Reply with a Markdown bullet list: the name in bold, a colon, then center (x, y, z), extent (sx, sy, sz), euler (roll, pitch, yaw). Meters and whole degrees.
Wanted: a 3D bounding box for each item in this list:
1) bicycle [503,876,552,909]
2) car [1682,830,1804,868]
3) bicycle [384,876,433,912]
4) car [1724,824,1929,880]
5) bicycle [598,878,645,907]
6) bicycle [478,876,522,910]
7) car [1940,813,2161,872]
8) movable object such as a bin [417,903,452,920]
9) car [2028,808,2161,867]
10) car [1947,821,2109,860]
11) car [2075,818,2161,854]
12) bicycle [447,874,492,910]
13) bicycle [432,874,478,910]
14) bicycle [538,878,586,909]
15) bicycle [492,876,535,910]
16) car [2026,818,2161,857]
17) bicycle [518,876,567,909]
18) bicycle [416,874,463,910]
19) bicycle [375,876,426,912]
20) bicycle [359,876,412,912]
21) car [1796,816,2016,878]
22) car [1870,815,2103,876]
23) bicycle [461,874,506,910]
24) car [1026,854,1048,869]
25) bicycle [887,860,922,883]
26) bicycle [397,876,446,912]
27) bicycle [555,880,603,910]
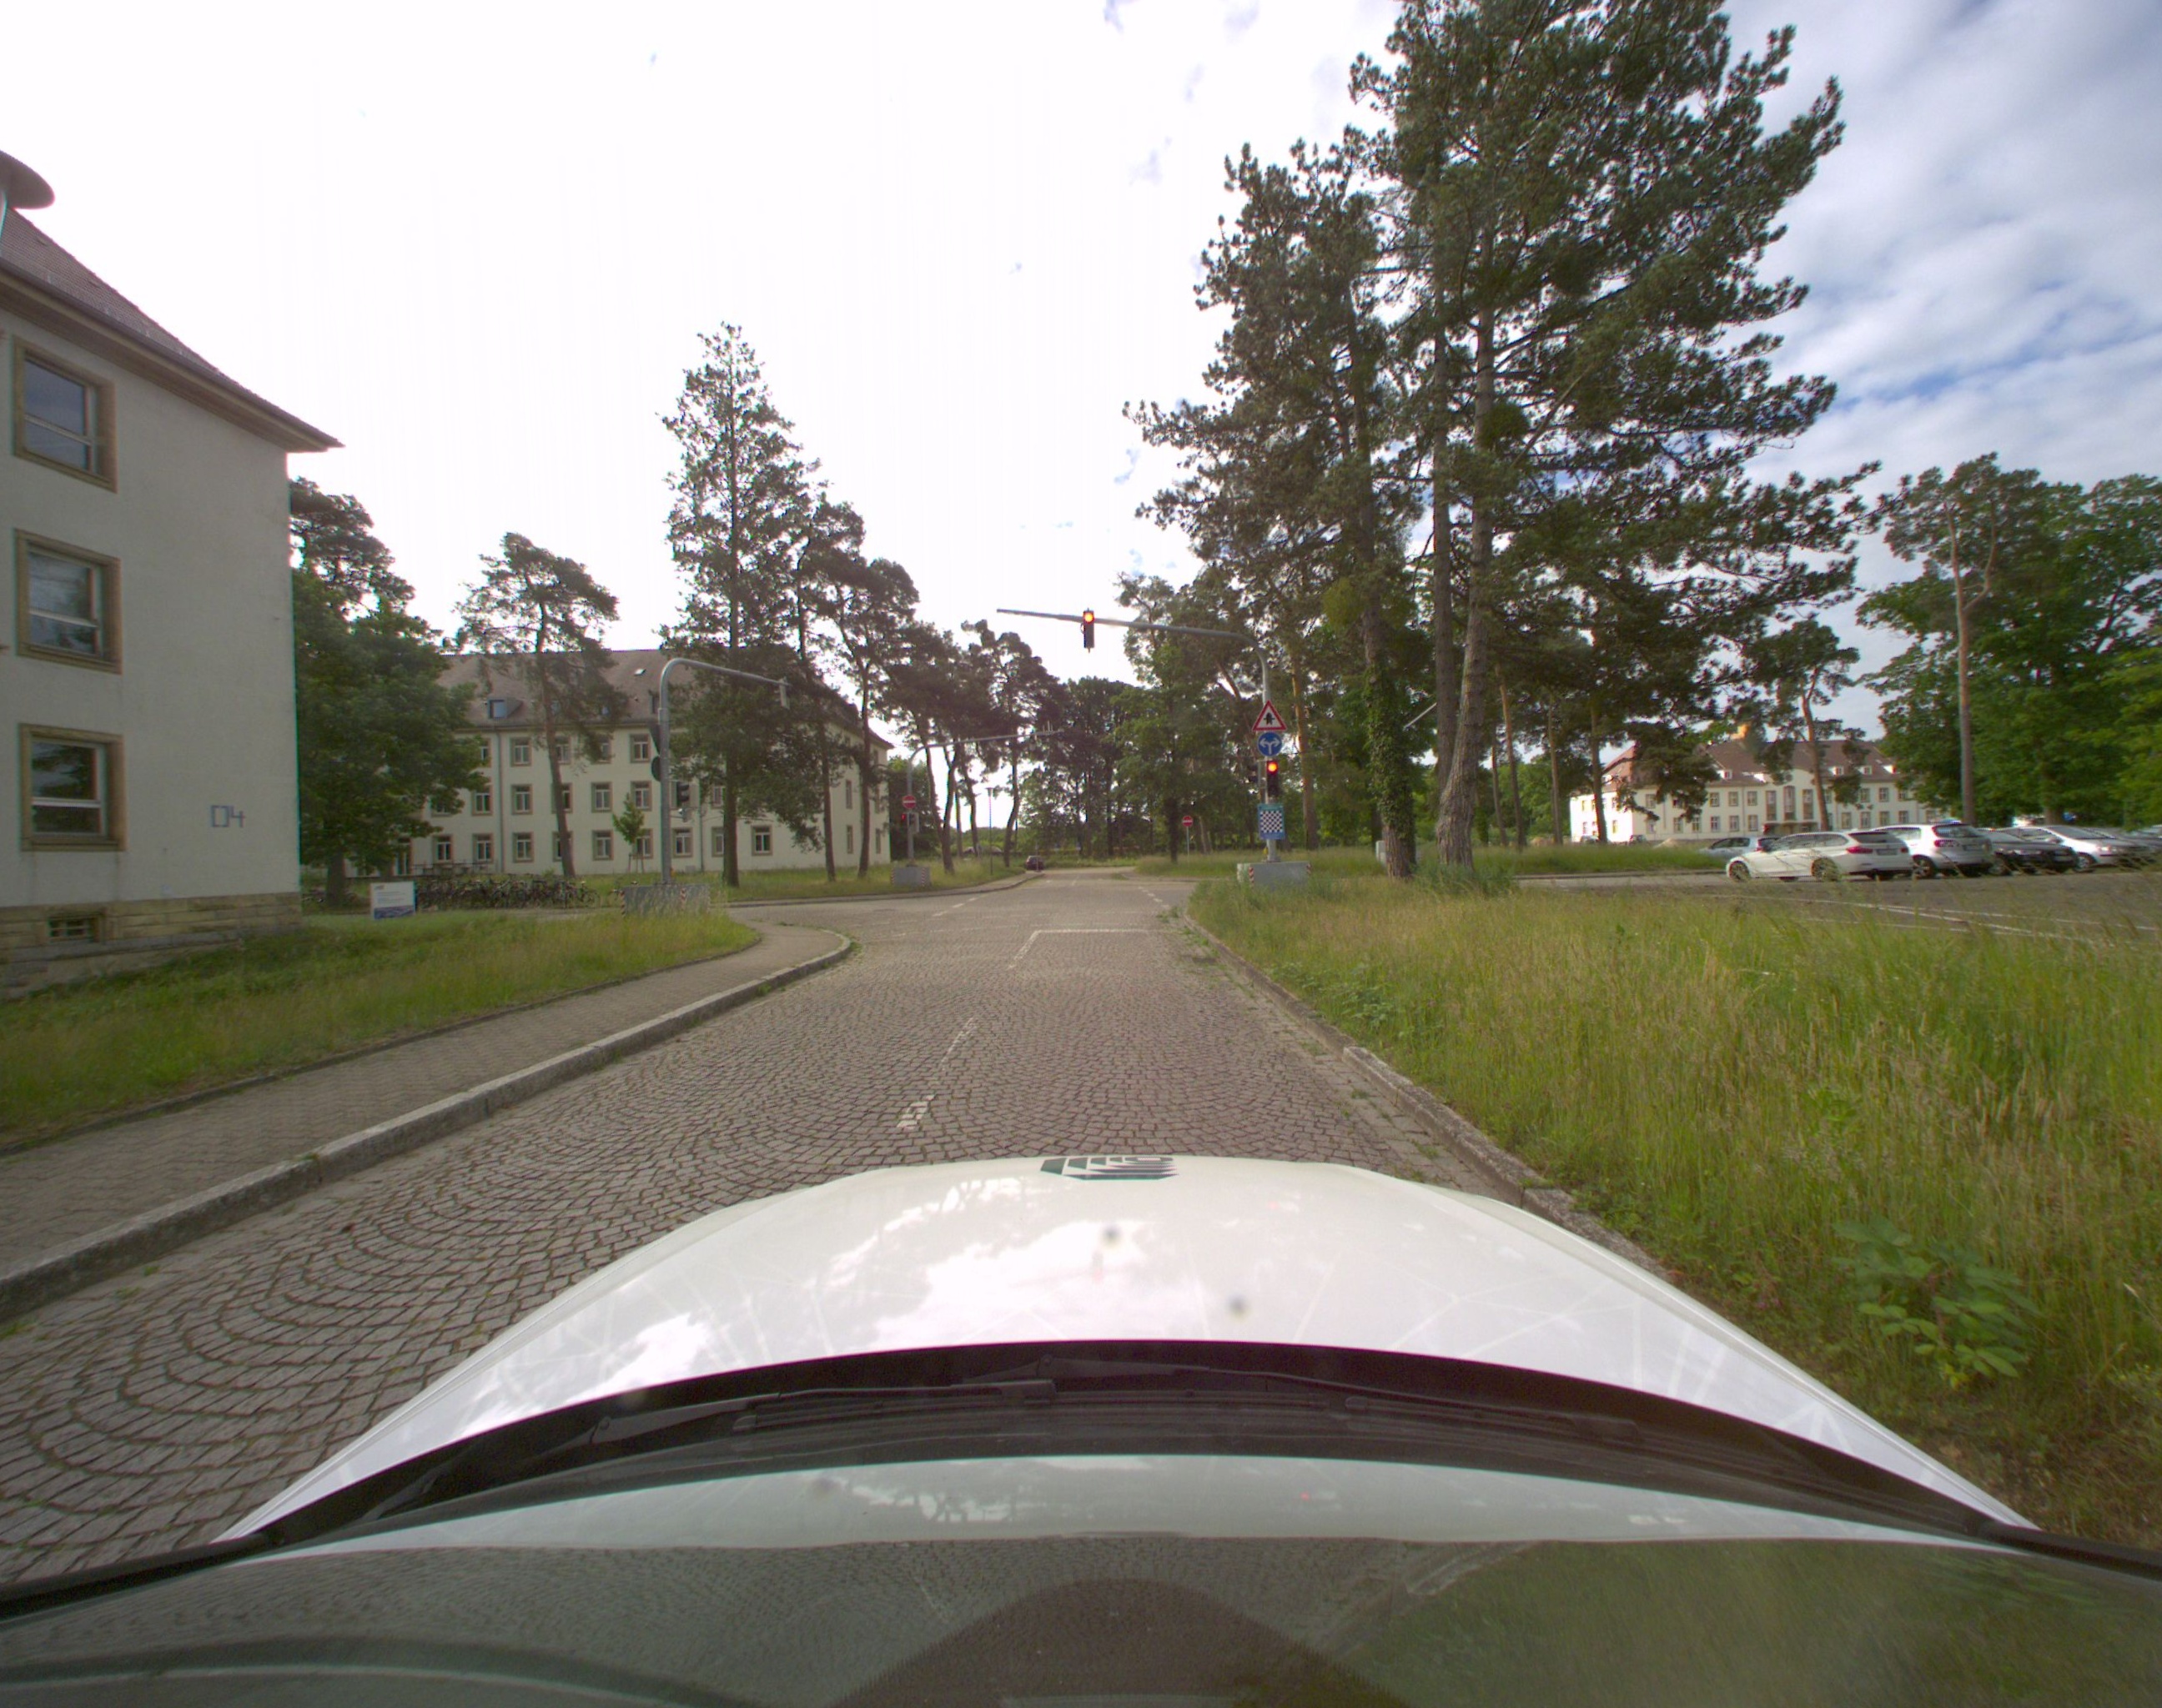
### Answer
- **bicycle**: center (-21.176, 1.461, 31.211), extent (0.526, 1.178, 1.930), euler (-2, 0, -1)
- **car**: center (28.732, -0.209, 35.550), extent (1.746, 1.524, 4.450), euler (-2, 0, 2)
- **bicycle**: center (-25.621, 1.497, 31.059), extent (0.447, 1.283, 1.695), euler (-2, 0, -1)
- **car**: center (21.380, -0.040, 23.656), extent (1.748, 1.415, 4.443), euler (-2, -1, -3)
- **bicycle**: center (-16.846, 1.393, 29.852), extent (1.454, 0.996, 0.452), euler (-2, 0, 1)
- **bicycle**: center (-22.174, 1.469, 31.126), extent (0.447, 1.178, 1.695), euler (-2, 0, -1)
- **car**: center (29.401, -0.337, 24.715), extent (1.862, 1.577, 4.443), euler (-2, 0, -3)
- **movable object such as a bin**: center (-20.846, 1.858, 26.262), extent (0.747, 0.503, 0.445), euler (-2, 0, -1)
- **car**: center (31.969, -0.508, 24.412), extent (1.862, 1.686, 4.443), euler (-2, 0, -3)
- **car**: center (40.931, -0.560, 35.382), extent (1.748, 1.524, 4.443), euler (-2, 0, -3)
- **car**: center (46.933, -0.780, 35.474), extent (1.748, 1.524, 4.443), euler (-2, 0, -3)
- **bicycle**: center (-23.392, 1.427, 31.182), extent (0.447, 1.283, 1.695), euler (-2, 0, -1)
- **bicycle**: center (-23.907, 1.431, 31.135), extent (0.447, 1.283, 1.695), euler (-2, 0, -1)
- **bicycle**: center (-19.896, 1.506, 31.270), extent (0.573, 1.078, 1.996), euler (-2, 0, -1)
- **bicycle**: center (-21.688, 1.478, 31.150), extent (0.447, 1.178, 1.695), euler (-2, 0, -1)
- **car**: center (43.819, -0.681, 34.755), extent (1.748, 1.524, 4.443), euler (-2, 0, -3)
- **bicycle**: center (-20.592, 1.456, 31.169), extent (0.573, 1.178, 1.953), euler (-2, 0, -1)
- **bicycle**: center (-24.470, 1.435, 31.107), extent (0.447, 1.283, 1.695), euler (-2, 0, -1)
- **bicycle**: center (-26.090, 1.514, 31.253), extent (0.441, 1.283, 1.784), euler (-2, 0, -1)
- **bicycle**: center (-26.554, 1.506, 31.117), extent (0.447, 1.283, 1.827), euler (-2, 0, -1)
- **car**: center (23.957, -0.192, 23.935), extent (1.862, 1.577, 4.443), euler (-2, 0, -3)
- **car**: center (26.593, -0.235, 24.189), extent (1.862, 1.577, 4.443), euler (-2, 0, -3)
- **bicycle**: center (-22.887, 1.423, 31.227), extent (0.447, 1.283, 1.695), euler (-2, 0, -1)
- **car**: center (-4.706, 0.776, 87.160), extent (1.986, 1.508, 4.002), euler (0, 0, 2)
- **bicycle**: center (-8.081, 0.817, 37.289), extent (1.457, 0.996, 0.451), euler (-2, 0, -6)
- **bicycle**: center (-25.134, 1.493, 31.075), extent (0.447, 1.283, 1.695), euler (-2, 0, -1)
- **bicycle**: center (-18.370, 1.497, 29.818), extent (1.454, 0.996, 0.452), euler (-2, 0, 1)
